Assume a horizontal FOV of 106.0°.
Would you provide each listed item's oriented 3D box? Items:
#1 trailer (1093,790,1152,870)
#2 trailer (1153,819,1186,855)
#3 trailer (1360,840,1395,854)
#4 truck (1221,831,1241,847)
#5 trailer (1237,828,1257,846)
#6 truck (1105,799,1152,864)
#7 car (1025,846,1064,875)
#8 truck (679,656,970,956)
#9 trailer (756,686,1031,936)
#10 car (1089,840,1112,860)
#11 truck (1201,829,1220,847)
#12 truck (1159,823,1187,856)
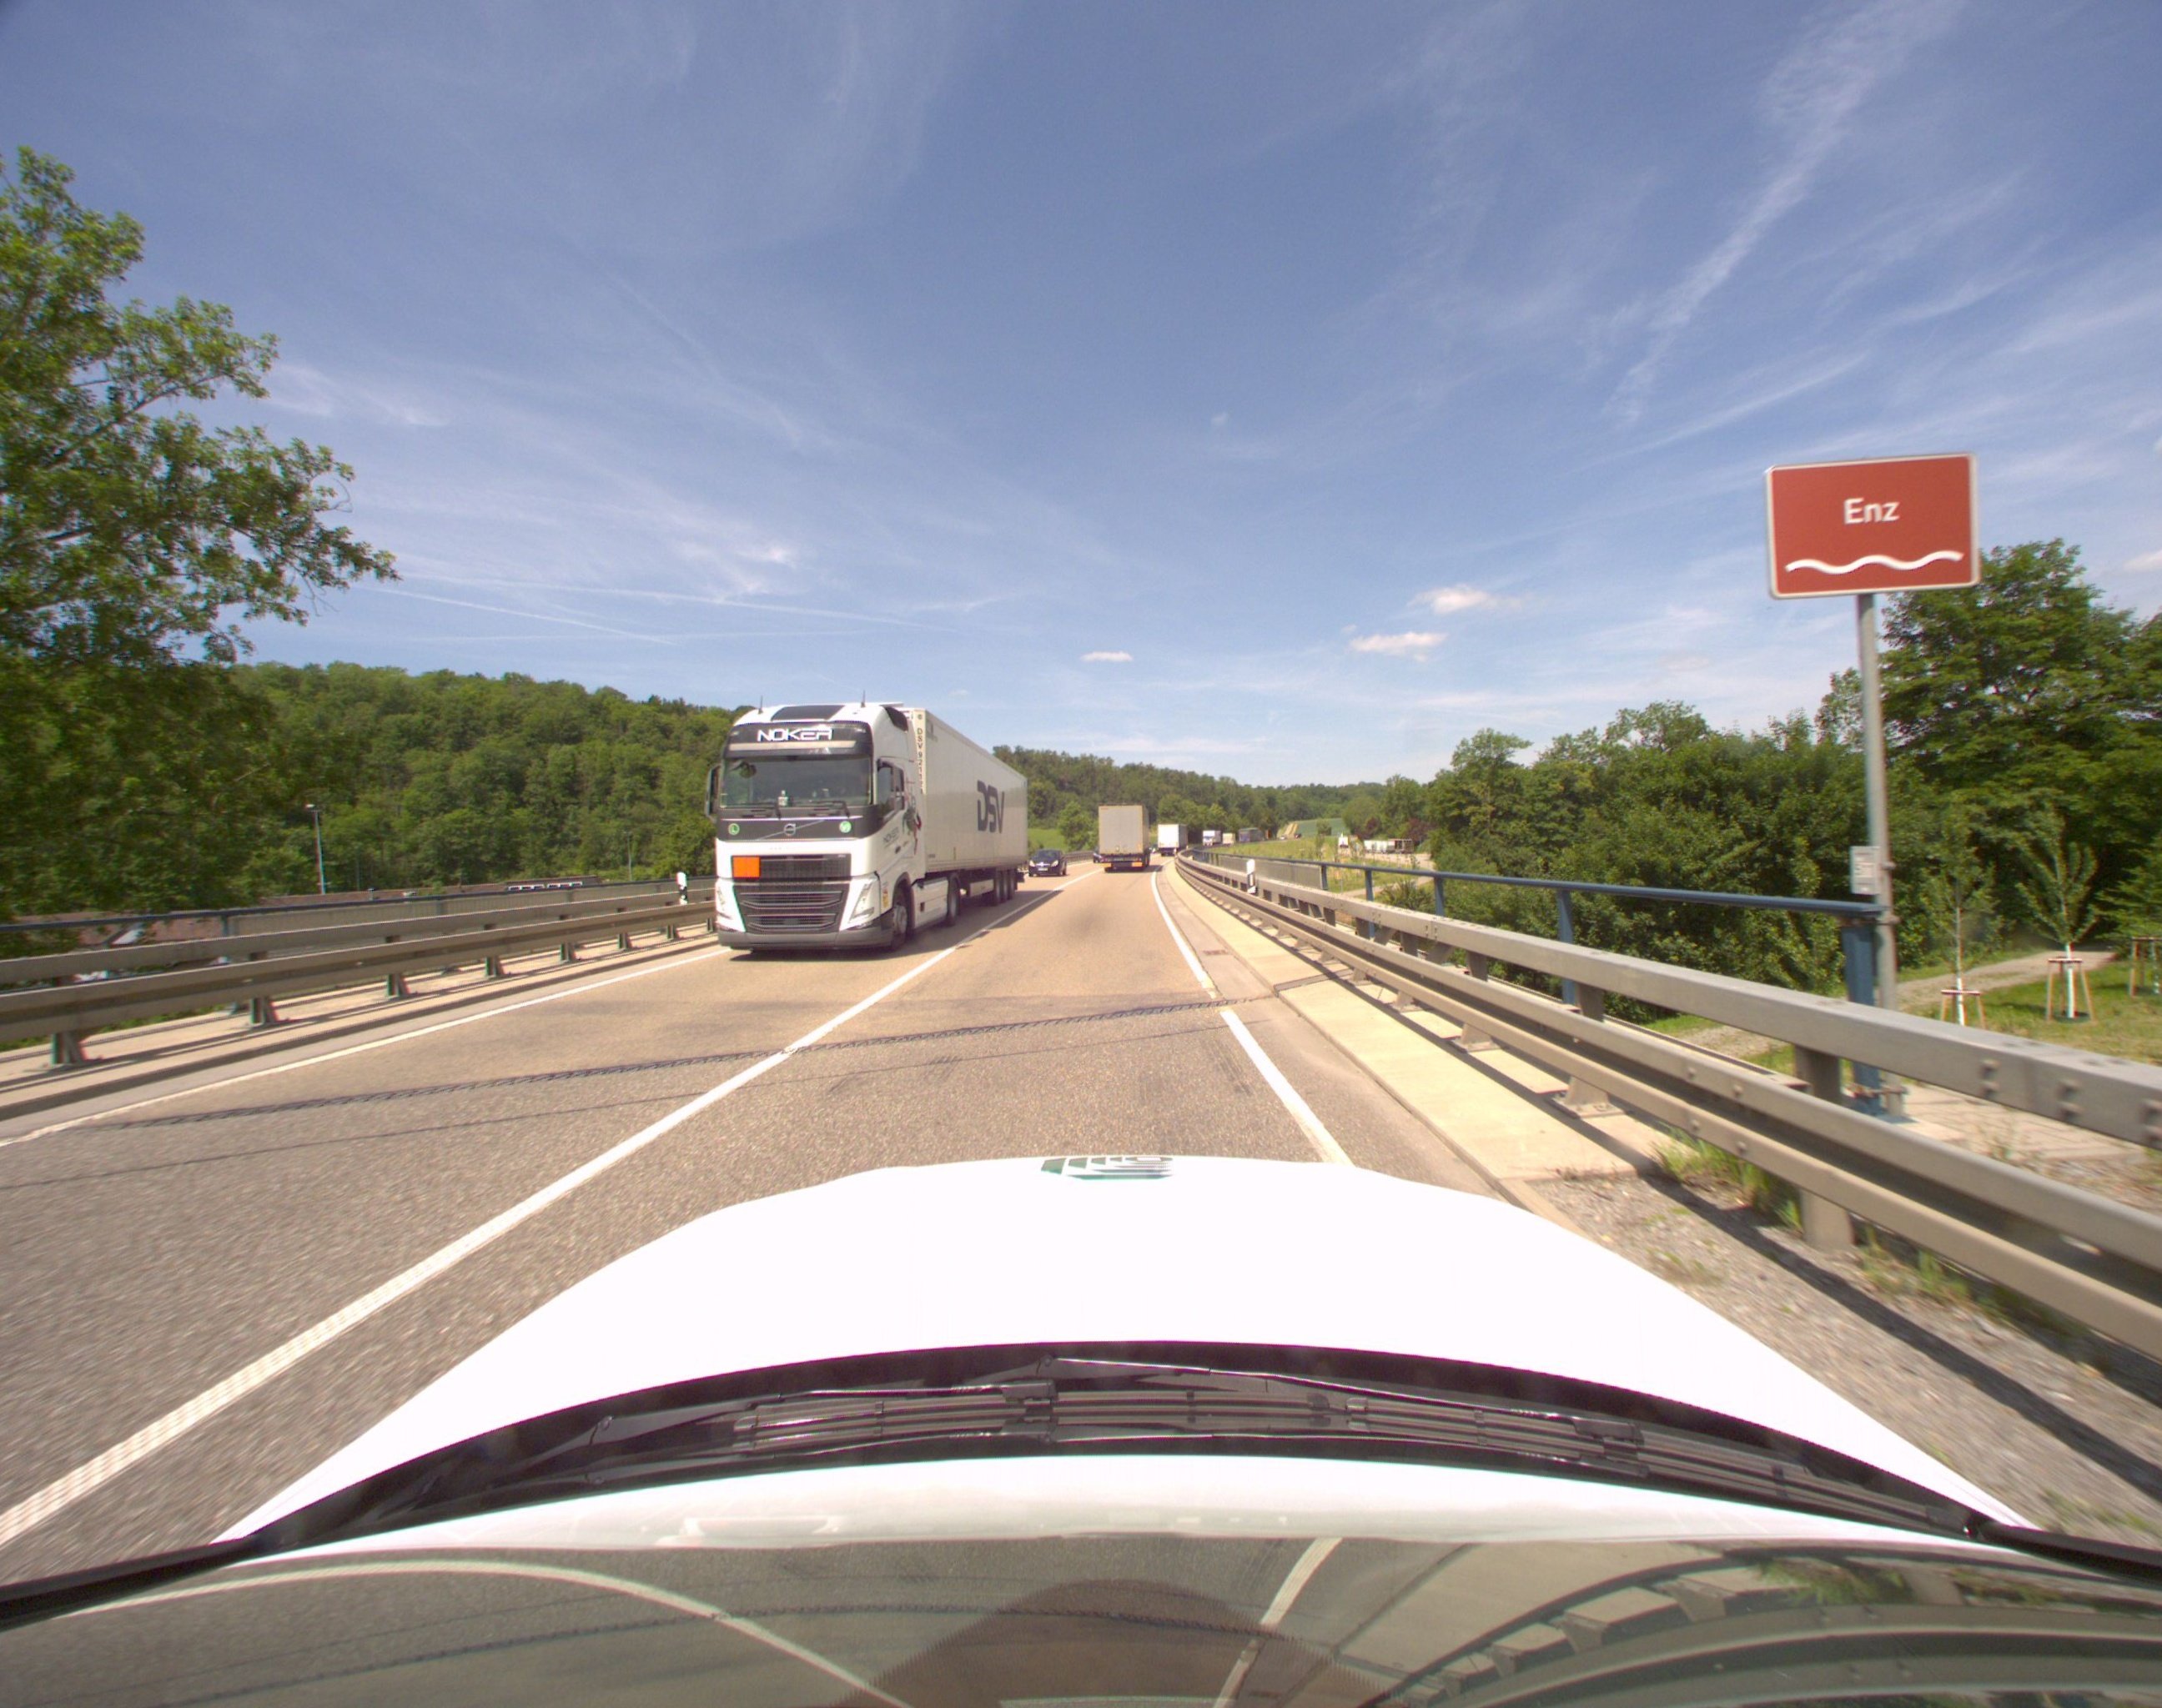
[{"bbox_3d":[2.952,-1.471,53.250,3.103,4.499,13.909,-1,1,6],"label":"trailer"},{"bbox_3d":[11.580,-2.120,105.359,3.345,4.316,13.901,-1,0,9],"label":"trailer"},{"bbox_3d":[75.315,-1.824,207.349,2.719,3.327,11.855,-1,1,-10],"label":"trailer"},{"bbox_3d":[34.362,-3.376,186.223,3.198,3.365,11.926,-1,0,16],"label":"truck"},{"bbox_3d":[42.180,-4.288,206.990,3.619,4.262,12.251,-1,0,17],"label":"trailer"},{"bbox_3d":[3.621,-1.590,60.000,3.103,4.494,6.822,-1,1,6],"label":"truck"},{"bbox_3d":[-1.925,0.313,44.101,1.654,1.457,3.898,-2,1,3],"label":"car"},{"bbox_3d":[-4.024,-0.707,14.548,2.834,4.160,6.337,-1,1,3],"label":"truck"},{"bbox_3d":[-3.637,-0.773,21.027,2.841,4.187,14.511,-1,0,3],"label":"trailer"},{"bbox_3d":[1.824,-0.403,74.851,1.844,1.798,4.983,-1,1,4],"label":"car"},{"bbox_3d":[29.312,-3.645,183.634,2.892,3.803,9.752,-1,1,17],"label":"truck"},{"bbox_3d":[12.695,-2.005,112.039,3.345,4.316,6.758,-1,0,9],"label":"truck"}]
